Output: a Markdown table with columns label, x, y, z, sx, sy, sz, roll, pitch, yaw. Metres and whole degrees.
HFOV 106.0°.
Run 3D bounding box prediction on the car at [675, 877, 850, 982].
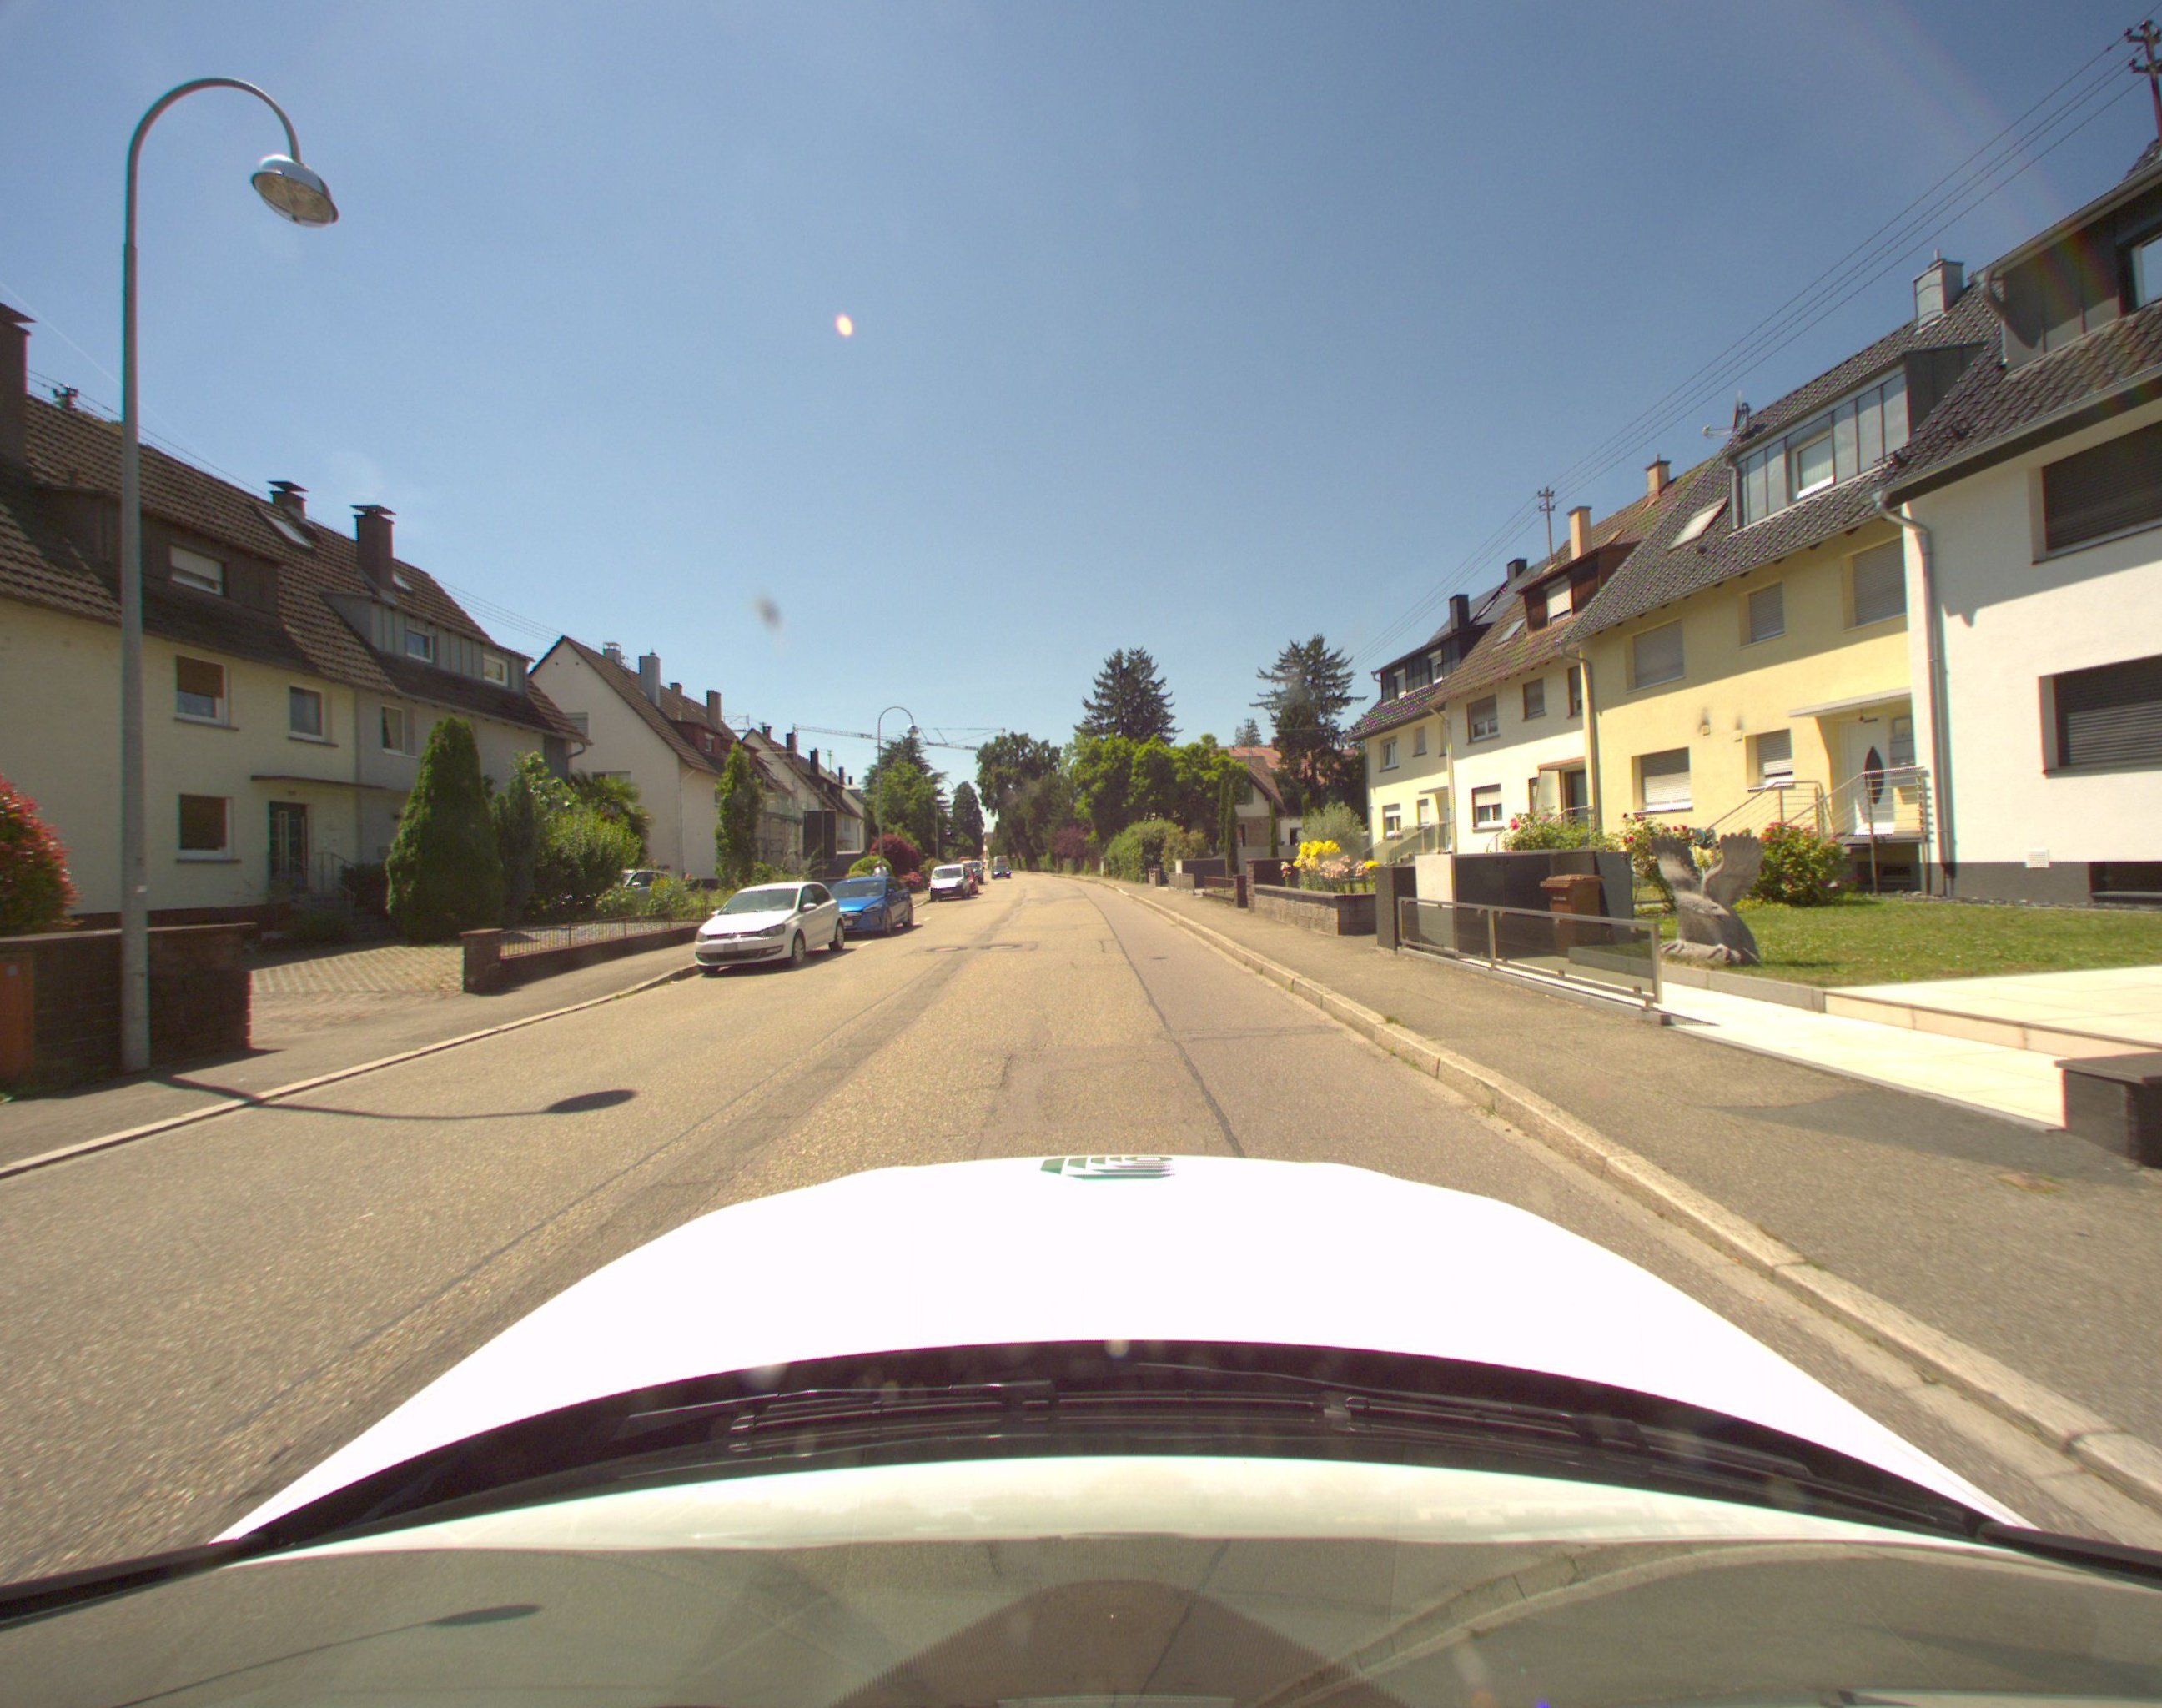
| label | x | y | z | sx | sy | sz | roll | pitch | yaw |
| --- | --- | --- | --- | --- | --- | --- | --- | --- | --- |
| car | -5.597 | 1.254 | 14.866 | 1.574 | 1.423 | 3.939 | -5 | 0 | -1 |

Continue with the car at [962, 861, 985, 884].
| label | x | y | z | sx | sy | sz | roll | pitch | yaw |
| --- | --- | --- | --- | --- | --- | --- | --- | --- | --- |
| car | -9.677 | 1.600 | 72.928 | 1.885 | 1.881 | 4.966 | -3 | 0 | -8 |

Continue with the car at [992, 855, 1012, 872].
| label | x | y | z | sx | sy | sz | roll | pitch | yaw |
| --- | --- | --- | --- | --- | --- | --- | --- | --- | --- |
| car | -12.151 | 1.487 | 124.658 | 2.147 | 2.315 | 4.828 | -4 | 0 | -14 |

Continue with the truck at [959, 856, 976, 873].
| label | x | y | z | sx | sy | sz | roll | pitch | yaw |
| --- | --- | --- | --- | --- | --- | --- | --- | --- | --- |
| truck | -21.127 | 1.950 | 151.342 | 2.377 | 2.830 | 5.630 | -4 | 0 | -14 |

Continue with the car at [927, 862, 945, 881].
| label | x | y | z | sx | sy | sz | roll | pitch | yaw |
| --- | --- | --- | --- | --- | --- | --- | --- | --- | --- |
| car | -15.155 | 1.790 | 85.080 | 1.648 | 1.752 | 4.340 | -4 | 0 | -9 |

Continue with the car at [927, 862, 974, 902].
| label | x | y | z | sx | sy | sz | roll | pitch | yaw |
| --- | --- | --- | --- | --- | --- | --- | --- | --- | --- |
| car | -6.353 | 1.320 | 40.099 | 1.719 | 1.736 | 3.882 | -5 | 0 | -3 |

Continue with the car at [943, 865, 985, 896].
| label | x | y | z | sx | sy | sz | roll | pitch | yaw |
| --- | --- | --- | --- | --- | --- | --- | --- | --- | --- |
| car | -6.486 | 1.457 | 45.397 | 1.756 | 1.477 | 4.055 | -5 | 0 | -2 |

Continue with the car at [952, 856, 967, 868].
| label | x | y | z | sx | sy | sz | roll | pitch | yaw |
| --- | --- | --- | --- | --- | --- | --- | --- | --- | --- |
| car | -18.079 | 1.212 | 121.244 | 1.853 | 1.671 | 4.692 | -5 | 0 | -12 |

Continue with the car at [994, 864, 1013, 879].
| label | x | y | z | sx | sy | sz | roll | pitch | yaw |
| --- | --- | --- | --- | --- | --- | --- | --- | --- | --- |
| car | -7.820 | 1.770 | 82.503 | 1.729 | 1.417 | 3.992 | -4 | -1 | -5 |

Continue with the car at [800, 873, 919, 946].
| label | x | y | z | sx | sy | sz | roll | pitch | yaw |
| --- | --- | --- | --- | --- | --- | --- | --- | --- | --- |
| car | -5.467 | 1.301 | 20.673 | 1.764 | 1.438 | 4.360 | -5 | 0 | -1 |

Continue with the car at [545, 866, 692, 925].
| label | x | y | z | sx | sy | sz | roll | pitch | yaw |
| --- | --- | --- | --- | --- | --- | --- | --- | --- | --- |
| car | -13.120 | 1.194 | 23.464 | 1.763 | 1.508 | 4.359 | -1 | -3 | -1 |

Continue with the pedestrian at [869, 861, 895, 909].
| label | x | y | z | sx | sy | sz | roll | pitch | yaw |
| --- | --- | --- | --- | --- | --- | --- | --- | --- | --- |
| pedestrian | -8.026 | 1.246 | 32.856 | 0.686 | 1.890 | 1.019 | 2 | -1 | 3 |

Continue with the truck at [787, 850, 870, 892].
| label | x | y | z | sx | sy | sz | roll | pitch | yaw |
| --- | --- | --- | --- | --- | --- | --- | --- | --- | --- |
| truck | -13.031 | 0.869 | 42.160 | 3.761 | 1.937 | 1.544 | -3 | 0 | -5 |

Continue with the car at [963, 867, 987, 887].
| label | x | y | z | sx | sy | sz | roll | pitch | yaw |
| --- | --- | --- | --- | --- | --- | --- | --- | --- | --- |
| car | -8.442 | 1.834 | 65.112 | 1.697 | 1.384 | 4.225 | -5 | 0 | -7 |
